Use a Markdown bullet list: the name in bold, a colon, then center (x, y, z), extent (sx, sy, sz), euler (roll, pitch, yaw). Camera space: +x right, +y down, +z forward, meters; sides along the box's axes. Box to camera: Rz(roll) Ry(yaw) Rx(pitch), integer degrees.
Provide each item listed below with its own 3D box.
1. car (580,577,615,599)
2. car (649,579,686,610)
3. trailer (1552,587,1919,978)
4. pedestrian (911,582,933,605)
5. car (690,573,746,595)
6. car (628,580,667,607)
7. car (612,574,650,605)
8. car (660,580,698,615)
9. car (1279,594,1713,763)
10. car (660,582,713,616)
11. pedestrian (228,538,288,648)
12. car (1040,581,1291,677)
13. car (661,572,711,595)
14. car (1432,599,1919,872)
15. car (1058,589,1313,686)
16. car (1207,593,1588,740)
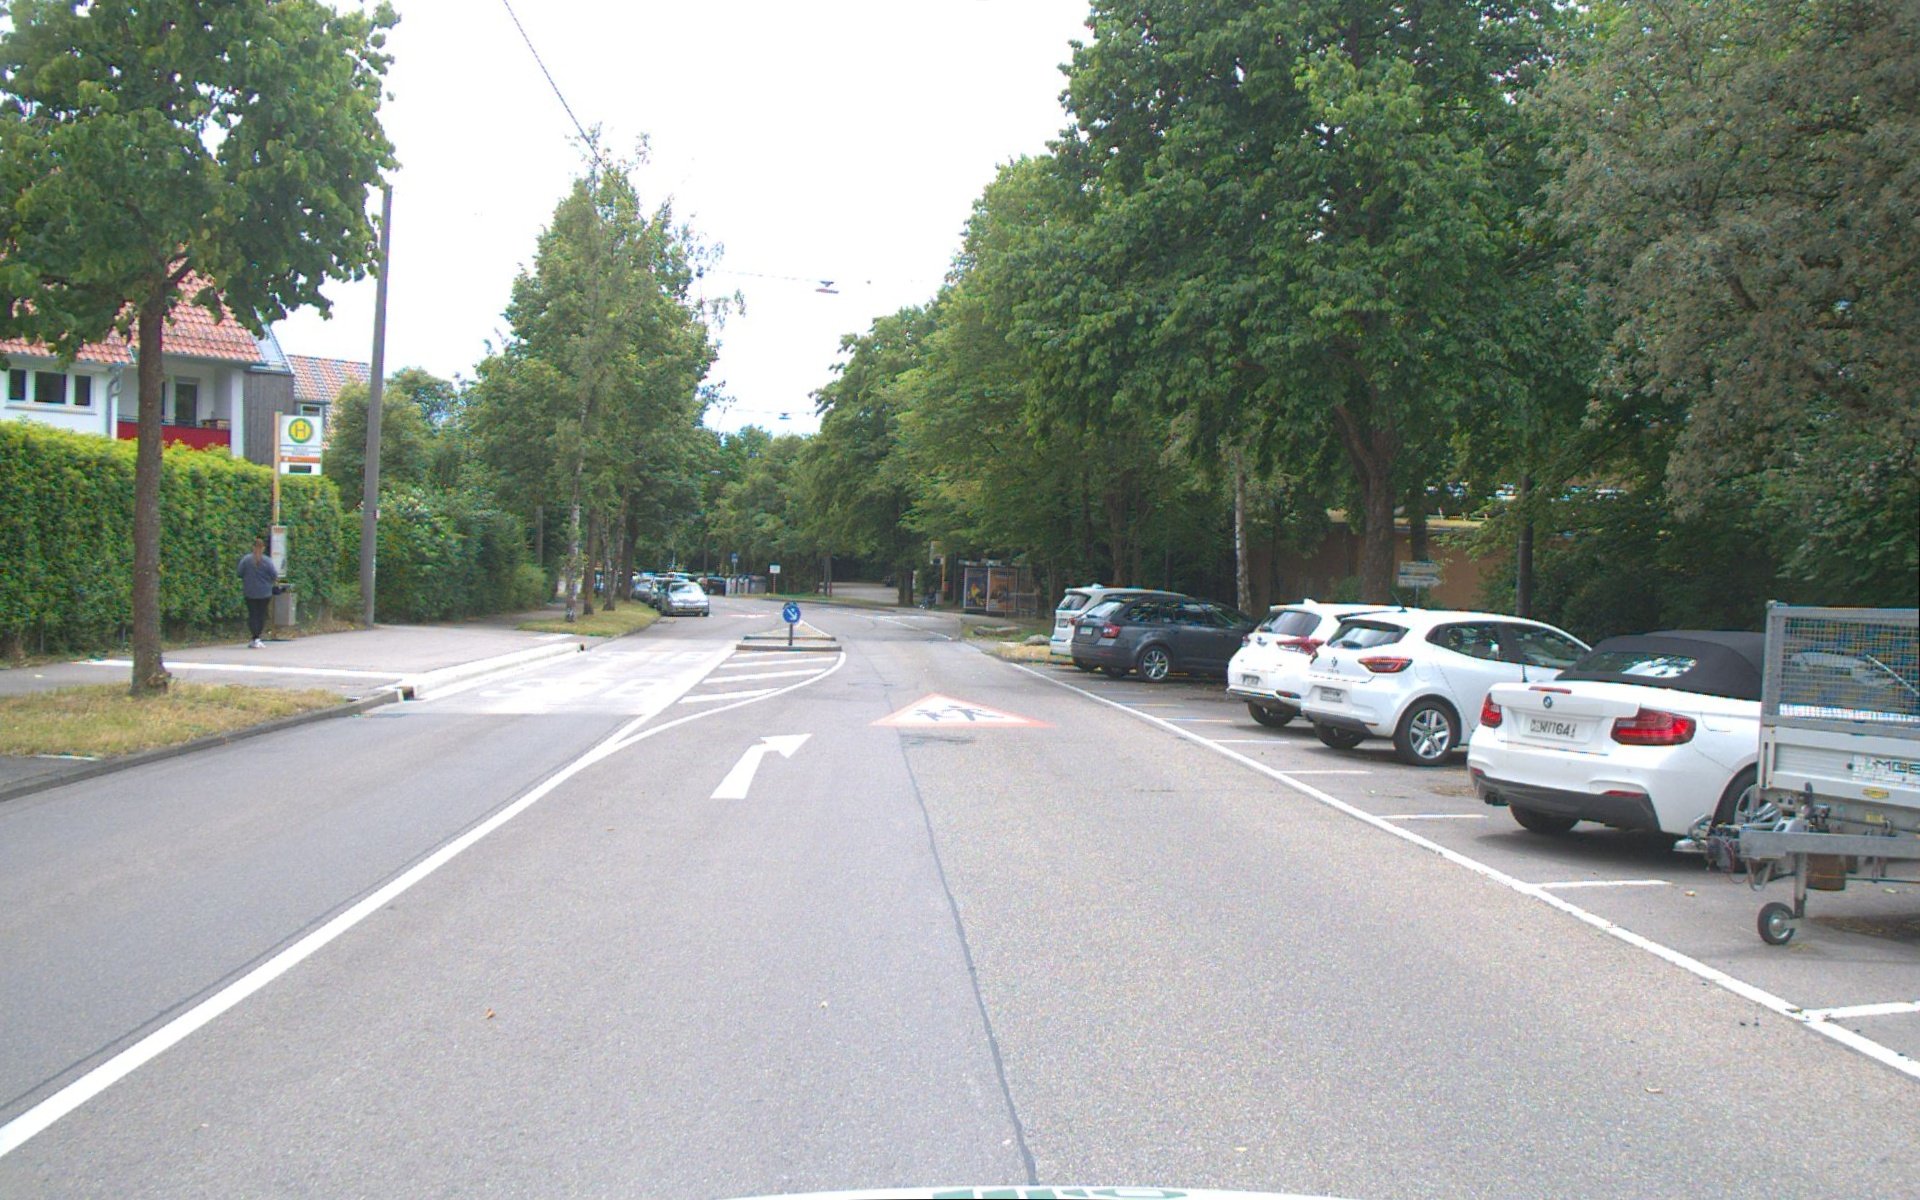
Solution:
- **car**: center (-27.384, -0.931, 124.879), extent (1.780, 1.590, 4.237), euler (-3, 2, -23)
- **car**: center (-15.707, -0.303, 88.758), extent (1.706, 1.606, 4.127), euler (0, 1, -14)
- **trailer**: center (5.108, 0.792, 8.213), extent (3.928, 1.579, 1.649), euler (2, 0, -20)
- **pedestrian**: center (-1.984, -0.349, 86.601), extent (1.046, 1.203, 0.577), euler (1, 0, -17)
- **car**: center (-19.420, -1.255, 132.957), extent (3.969, 1.438, 2.025), euler (4, 0, -44)
- **car**: center (-18.840, -0.424, 99.594), extent (1.836, 1.565, 4.208), euler (1, 1, -17)
- **car**: center (-21.734, -0.721, 109.240), extent (1.829, 1.942, 5.056), euler (1, 1, -19)
- **car**: center (-13.143, -0.147, 77.234), extent (1.704, 1.565, 4.179), euler (0, 1, -11)
- **car**: center (5.408, 0.792, 16.714), extent (3.932, 1.489, 1.784), euler (3, 0, -22)
- **car**: center (-11.806, -0.070, 71.154), extent (1.708, 1.441, 4.452), euler (0, 1, -17)
- **pedestrian**: center (-11.298, -0.114, 26.629), extent (0.679, 1.740, 0.776), euler (2, 0, -11)
- **car**: center (3.949, 0.545, 31.979), extent (4.393, 1.613, 1.900), euler (3, 0, -14)
- **car**: center (-23.646, -1.397, 142.811), extent (3.802, 1.750, 1.848), euler (4, -2, -44)
- **car**: center (5.302, 0.846, 10.989), extent (3.938, 1.489, 1.835), euler (3, 0, -27)
- **car**: center (3.958, 0.661, 29.254), extent (4.065, 1.489, 1.791), euler (3, 0, -16)
- **car**: center (5.089, 0.767, 19.326), extent (3.928, 1.489, 1.856), euler (3, 0, -20)
